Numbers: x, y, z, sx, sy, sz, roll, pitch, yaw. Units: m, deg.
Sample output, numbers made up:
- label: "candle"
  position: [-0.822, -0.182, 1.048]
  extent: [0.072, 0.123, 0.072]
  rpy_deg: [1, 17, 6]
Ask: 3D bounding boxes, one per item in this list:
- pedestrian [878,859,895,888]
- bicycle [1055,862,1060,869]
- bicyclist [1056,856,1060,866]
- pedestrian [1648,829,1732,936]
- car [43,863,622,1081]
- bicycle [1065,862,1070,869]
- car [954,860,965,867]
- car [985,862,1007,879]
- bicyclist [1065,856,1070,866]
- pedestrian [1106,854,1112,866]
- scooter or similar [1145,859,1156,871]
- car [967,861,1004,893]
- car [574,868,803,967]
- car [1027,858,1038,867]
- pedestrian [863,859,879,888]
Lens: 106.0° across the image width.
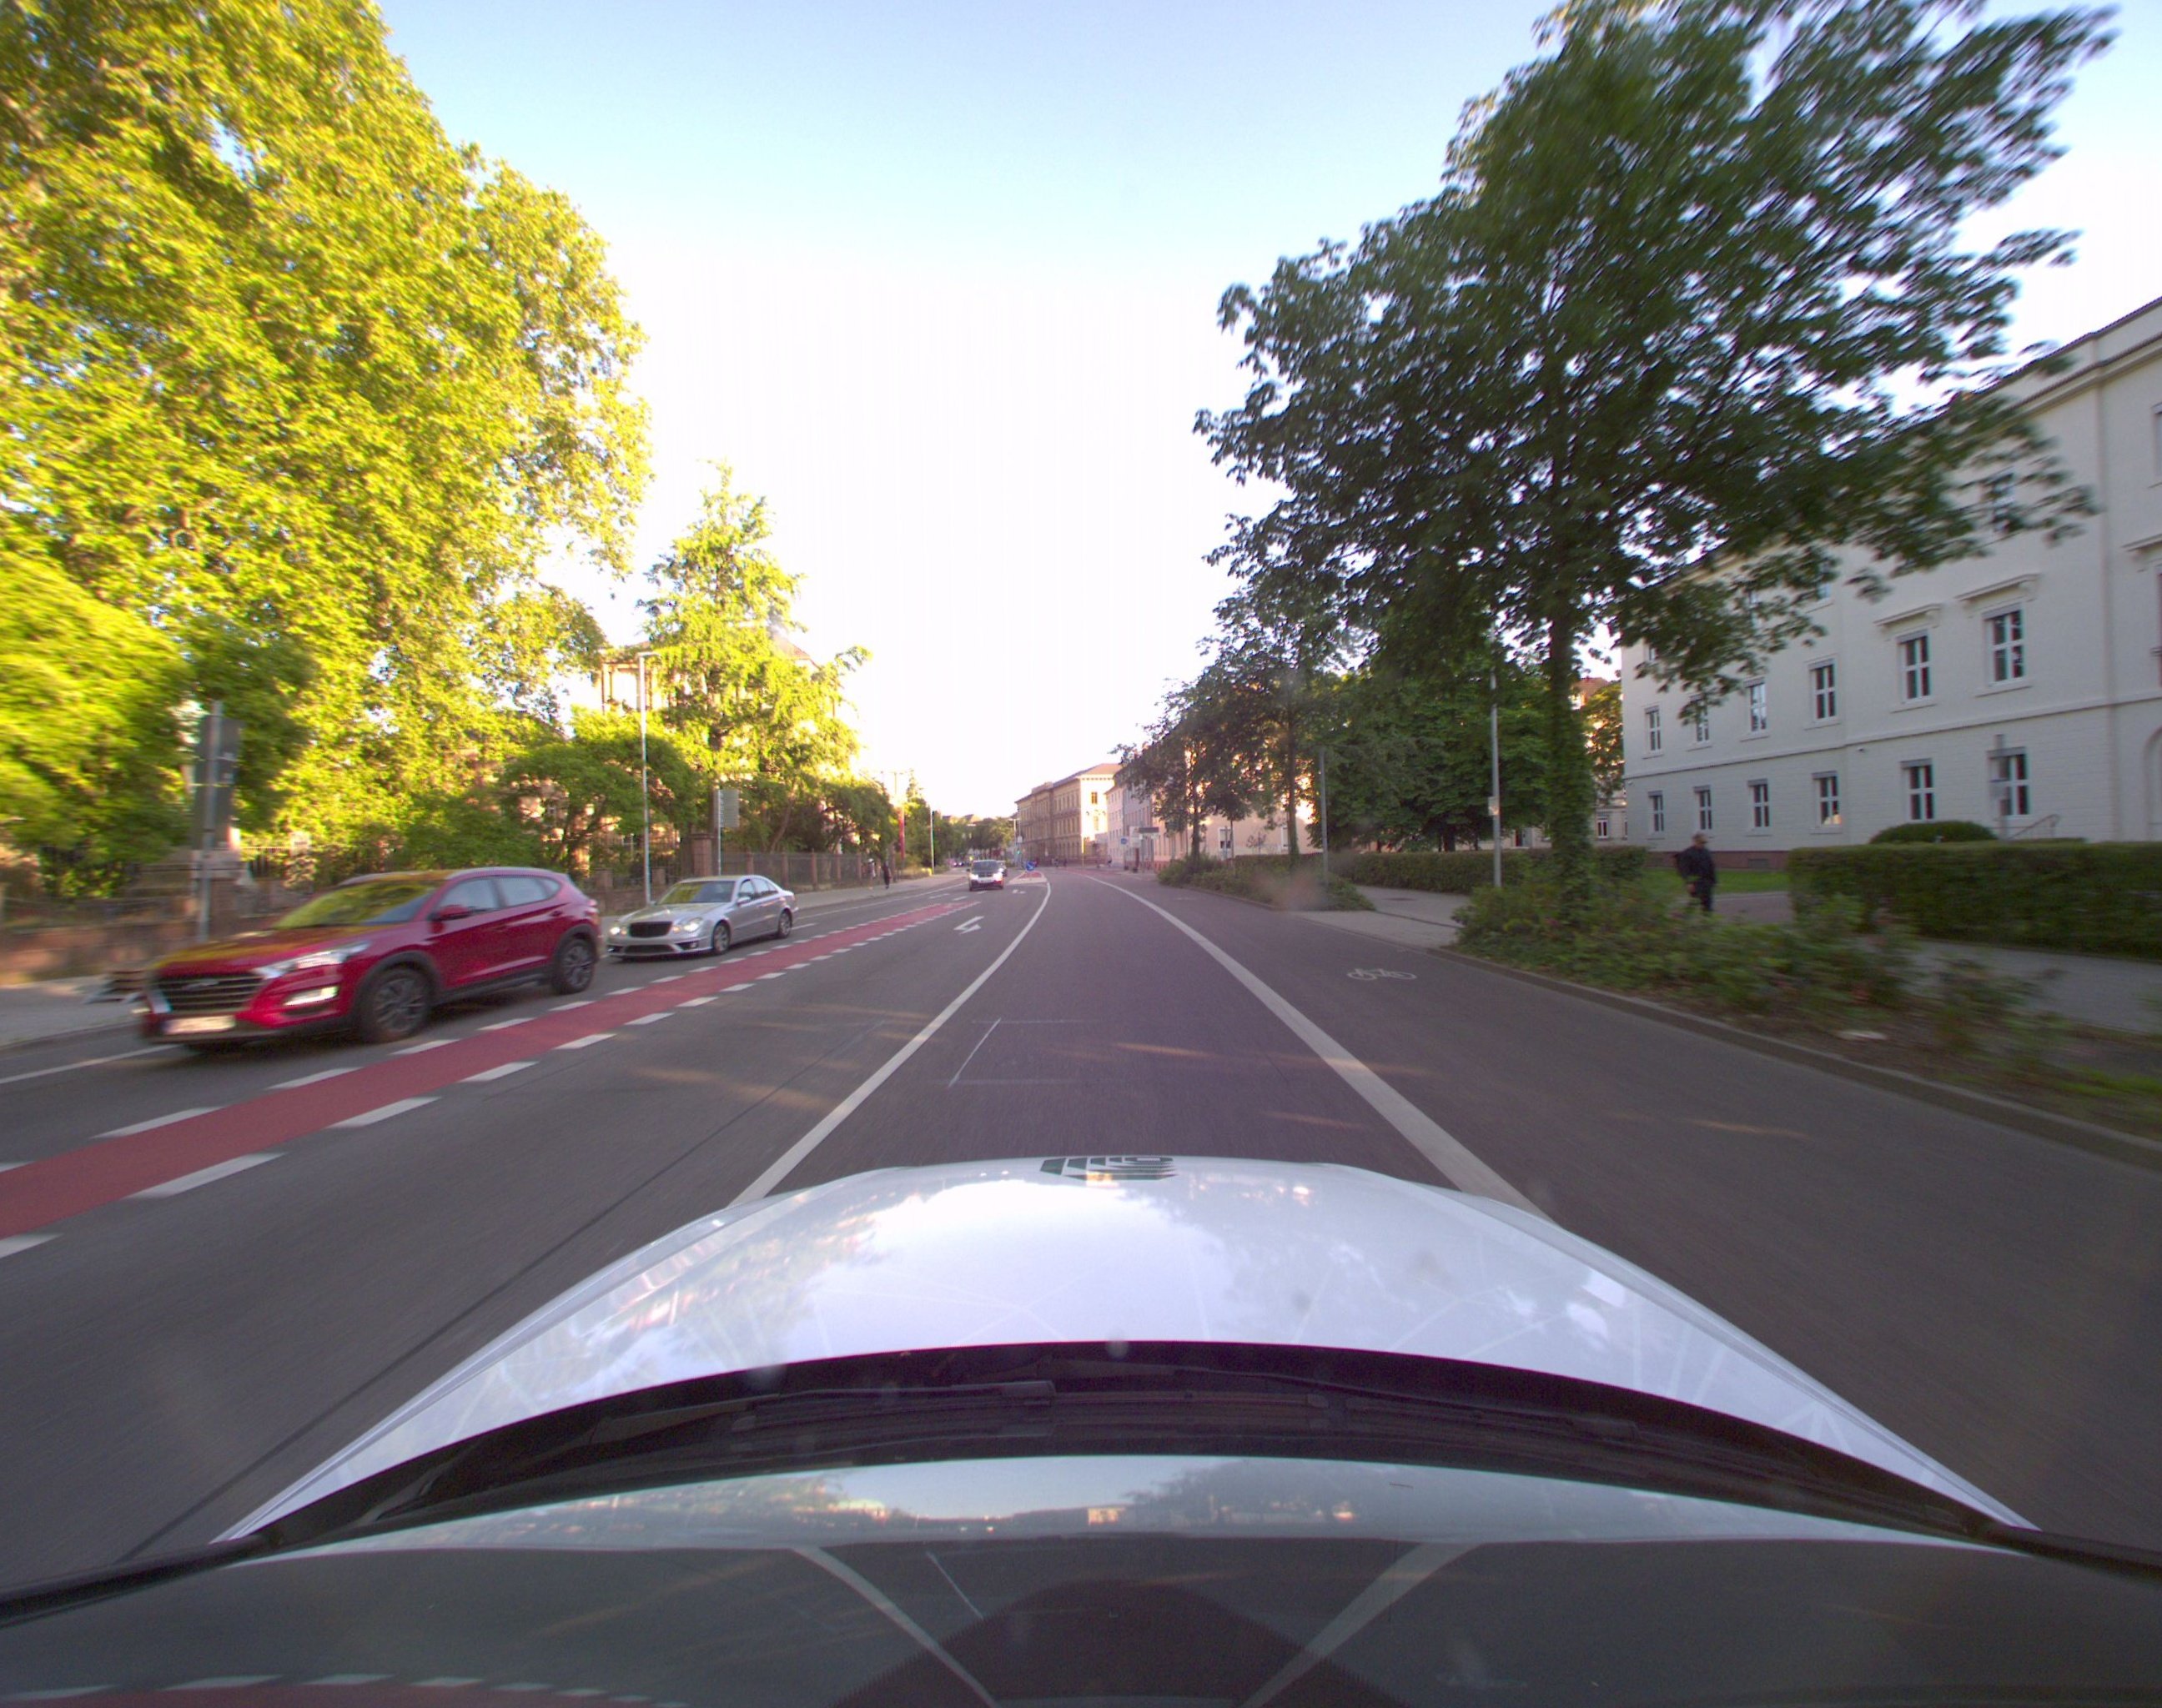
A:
- label: "pedestrian"
  position: [-11.296, 1.125, 47.268]
  extent: [0.676, 1.622, 0.690]
  rpy_deg: [-2, 0, 10]
- label: "bicycle"
  position: [-3.451, 1.770, 121.634]
  extent: [0.650, 1.015, 2.197]
  rpy_deg: [1, 0, 0]
- label: "bicyclist"
  position: [-3.435, 1.076, 121.623]
  extent: [0.650, 1.446, 0.879]
  rpy_deg: [1, 0, -1]
- label: "pedestrian"
  position: [10.254, 0.464, 13.736]
  extent: [0.768, 1.739, 0.806]
  rpy_deg: [-1, 0, -4]
- label: "car"
  position: [-7.406, 0.986, 8.952]
  extent: [1.909, 1.624, 4.640]
  rpy_deg: [-3, 0, 1]
- label: "bicycle"
  position: [-2.027, 1.744, 121.505]
  extent: [0.650, 1.015, 2.196]
  rpy_deg: [1, 0, -1]
- label: "car"
  position: [-28.797, 2.247, 192.839]
  extent: [1.989, 1.585, 3.996]
  rpy_deg: [-1, 0, -2]
- label: "car"
  position: [-7.799, 1.499, 74.281]
  extent: [1.834, 1.439, 3.990]
  rpy_deg: [-3, 0, -7]
- label: "bicyclist"
  position: [-2.025, 1.072, 121.514]
  extent: [0.650, 1.475, 0.940]
  rpy_deg: [1, 0, -2]
- label: "pedestrian"
  position: [4.070, 0.902, 117.700]
  extent: [0.759, 1.755, 0.845]
  rpy_deg: [-1, -1, 3]
- label: "scooter or similar"
  position: [7.496, 1.176, 88.358]
  extent: [0.629, 1.337, 2.393]
  rpy_deg: [-1, -1, -8]
- label: "car"
  position: [-5.092, 1.184, 43.656]
  extent: [1.846, 1.526, 3.991]
  rpy_deg: [-3, 0, -6]
- label: "car"
  position: [-7.217, 1.076, 15.657]
  extent: [1.909, 1.418, 4.771]
  rpy_deg: [-3, 0, 1]
- label: "car"
  position: [-8.628, 1.530, 144.736]
  extent: [1.864, 1.510, 3.993]
  rpy_deg: [-1, -1, -5]
- label: "pedestrian"
  position: [-12.223, 1.118, 47.352]
  extent: [0.677, 1.622, 0.689]
  rpy_deg: [-2, 0, 5]
